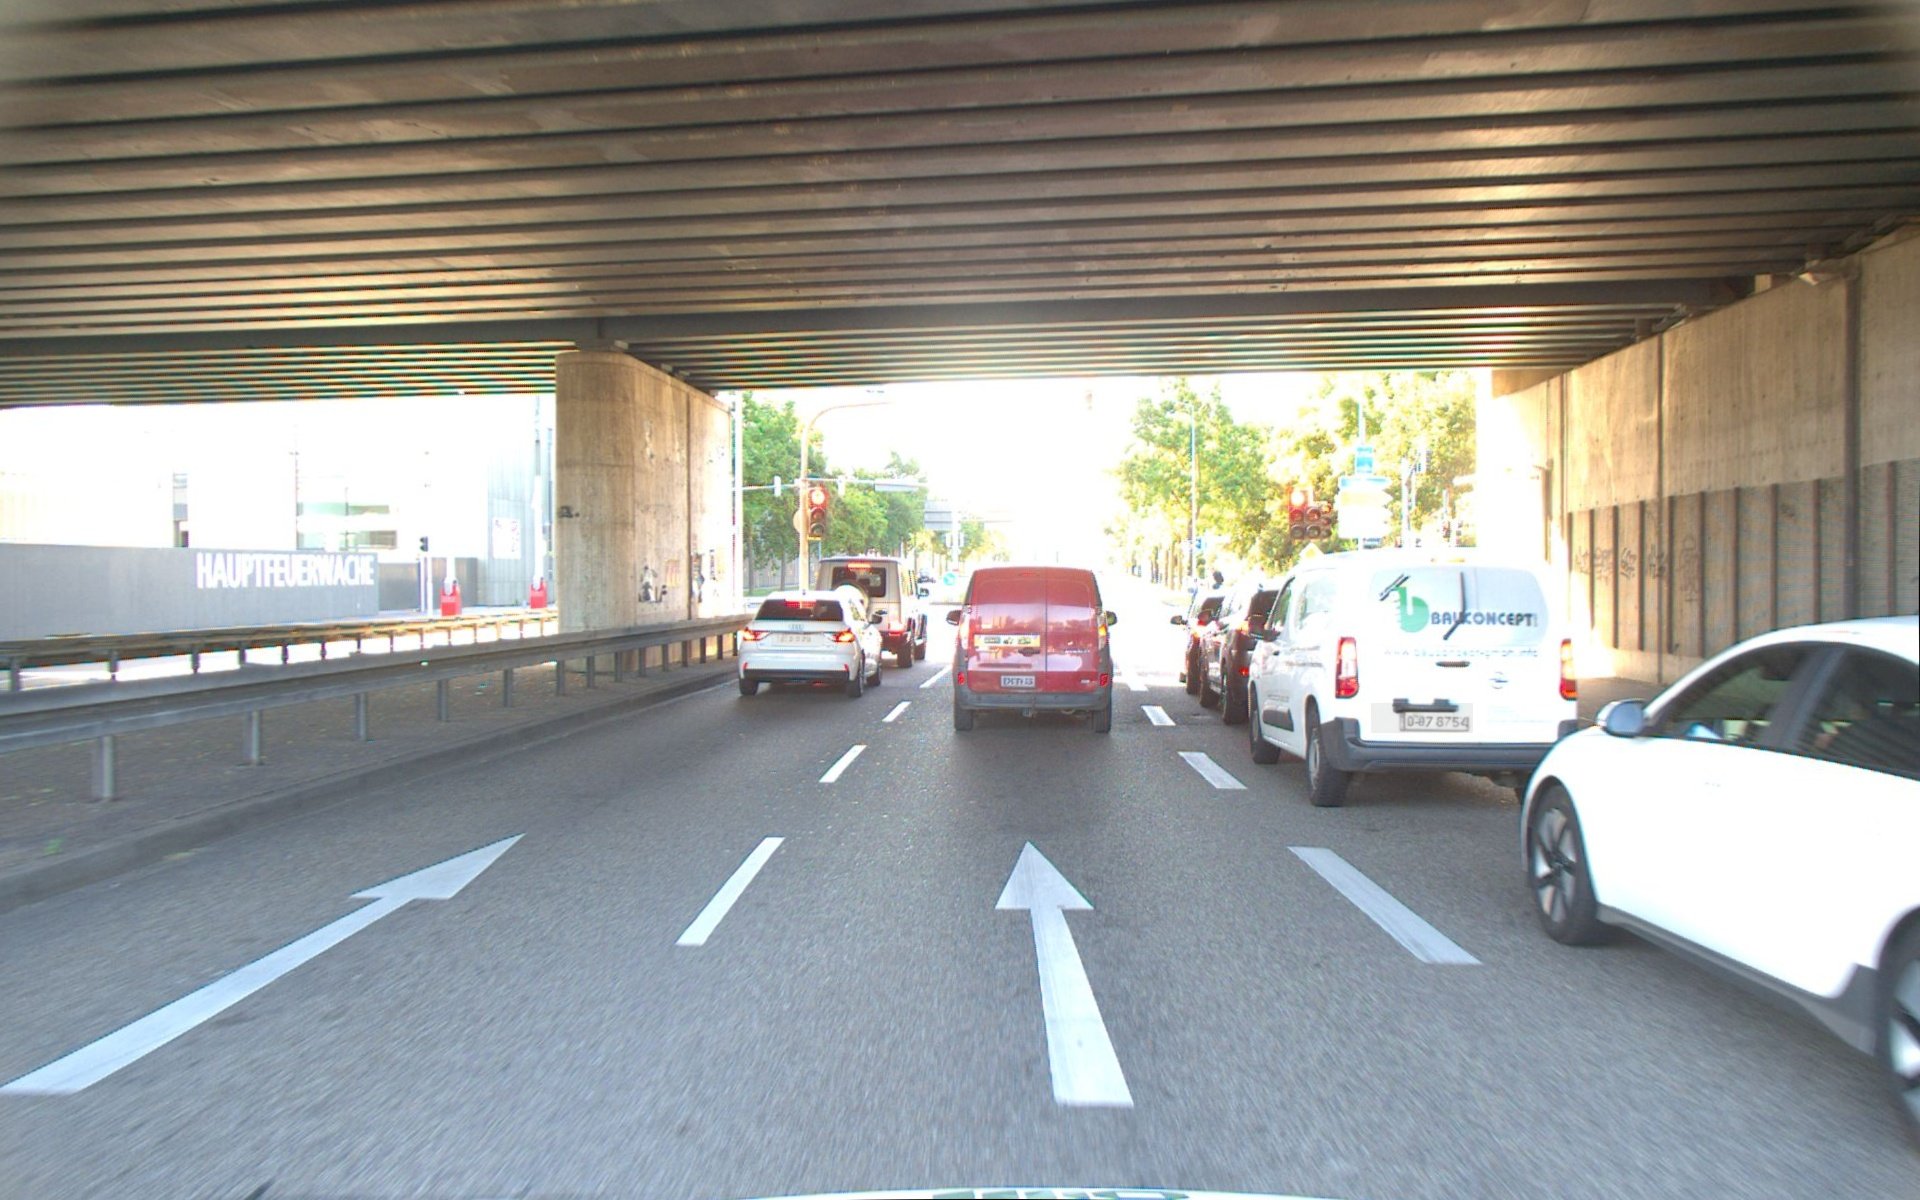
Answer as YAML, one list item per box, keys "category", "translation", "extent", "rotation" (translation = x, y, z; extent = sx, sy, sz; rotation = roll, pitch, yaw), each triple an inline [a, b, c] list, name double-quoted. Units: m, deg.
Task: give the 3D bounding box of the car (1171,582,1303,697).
- category: "car"
  translation: [4.216, 0.548, 25.670]
  extent: [1.617, 1.579, 3.866]
  rotation: [1, 1, 4]

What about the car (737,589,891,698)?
- category: "car"
  translation: [-2.035, 0.577, 24.030]
  extent: [1.657, 1.435, 3.815]
  rotation: [1, 0, 4]

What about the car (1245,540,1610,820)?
- category: "car"
  translation: [3.516, 0.529, 13.284]
  extent: [1.776, 1.865, 4.301]
  rotation: [1, 0, 1]

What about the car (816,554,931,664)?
- category: "car"
  translation: [-1.573, 0.146, 31.225]
  extent: [1.775, 1.937, 3.814]
  rotation: [1, 0, 3]

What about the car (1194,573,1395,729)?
- category: "car"
  translation: [3.955, 0.546, 20.148]
  extent: [1.741, 1.684, 3.991]
  rotation: [1, 0, 2]

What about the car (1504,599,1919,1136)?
- category: "car"
  translation: [3.524, 0.755, 5.718]
  extent: [1.710, 1.481, 4.663]
  rotation: [1, 0, -1]

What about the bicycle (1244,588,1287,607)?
- category: "bicycle"
  translation: [14.075, -0.108, 76.221]
  extent: [1.911, 0.889, 0.700]
  rotation: [0, 0, 10]

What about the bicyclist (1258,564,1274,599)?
- category: "bicyclist"
  translation: [14.103, -0.848, 76.222]
  extent: [0.739, 1.569, 0.697]
  rotation: [0, 0, 10]

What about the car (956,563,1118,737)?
- category: "car"
  translation: [0.922, 0.515, 19.306]
  extent: [1.683, 1.795, 4.002]
  rotation: [1, 0, 3]

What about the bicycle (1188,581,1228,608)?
- category: "bicycle"
  translation: [11.320, -0.246, 75.533]
  extent: [1.695, 1.255, 0.557]
  rotation: [0, -1, -3]

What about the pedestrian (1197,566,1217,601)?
- category: "pedestrian"
  translation: [11.293, -0.759, 75.525]
  extent: [0.820, 1.581, 0.557]
  rotation: [0, 0, -3]
